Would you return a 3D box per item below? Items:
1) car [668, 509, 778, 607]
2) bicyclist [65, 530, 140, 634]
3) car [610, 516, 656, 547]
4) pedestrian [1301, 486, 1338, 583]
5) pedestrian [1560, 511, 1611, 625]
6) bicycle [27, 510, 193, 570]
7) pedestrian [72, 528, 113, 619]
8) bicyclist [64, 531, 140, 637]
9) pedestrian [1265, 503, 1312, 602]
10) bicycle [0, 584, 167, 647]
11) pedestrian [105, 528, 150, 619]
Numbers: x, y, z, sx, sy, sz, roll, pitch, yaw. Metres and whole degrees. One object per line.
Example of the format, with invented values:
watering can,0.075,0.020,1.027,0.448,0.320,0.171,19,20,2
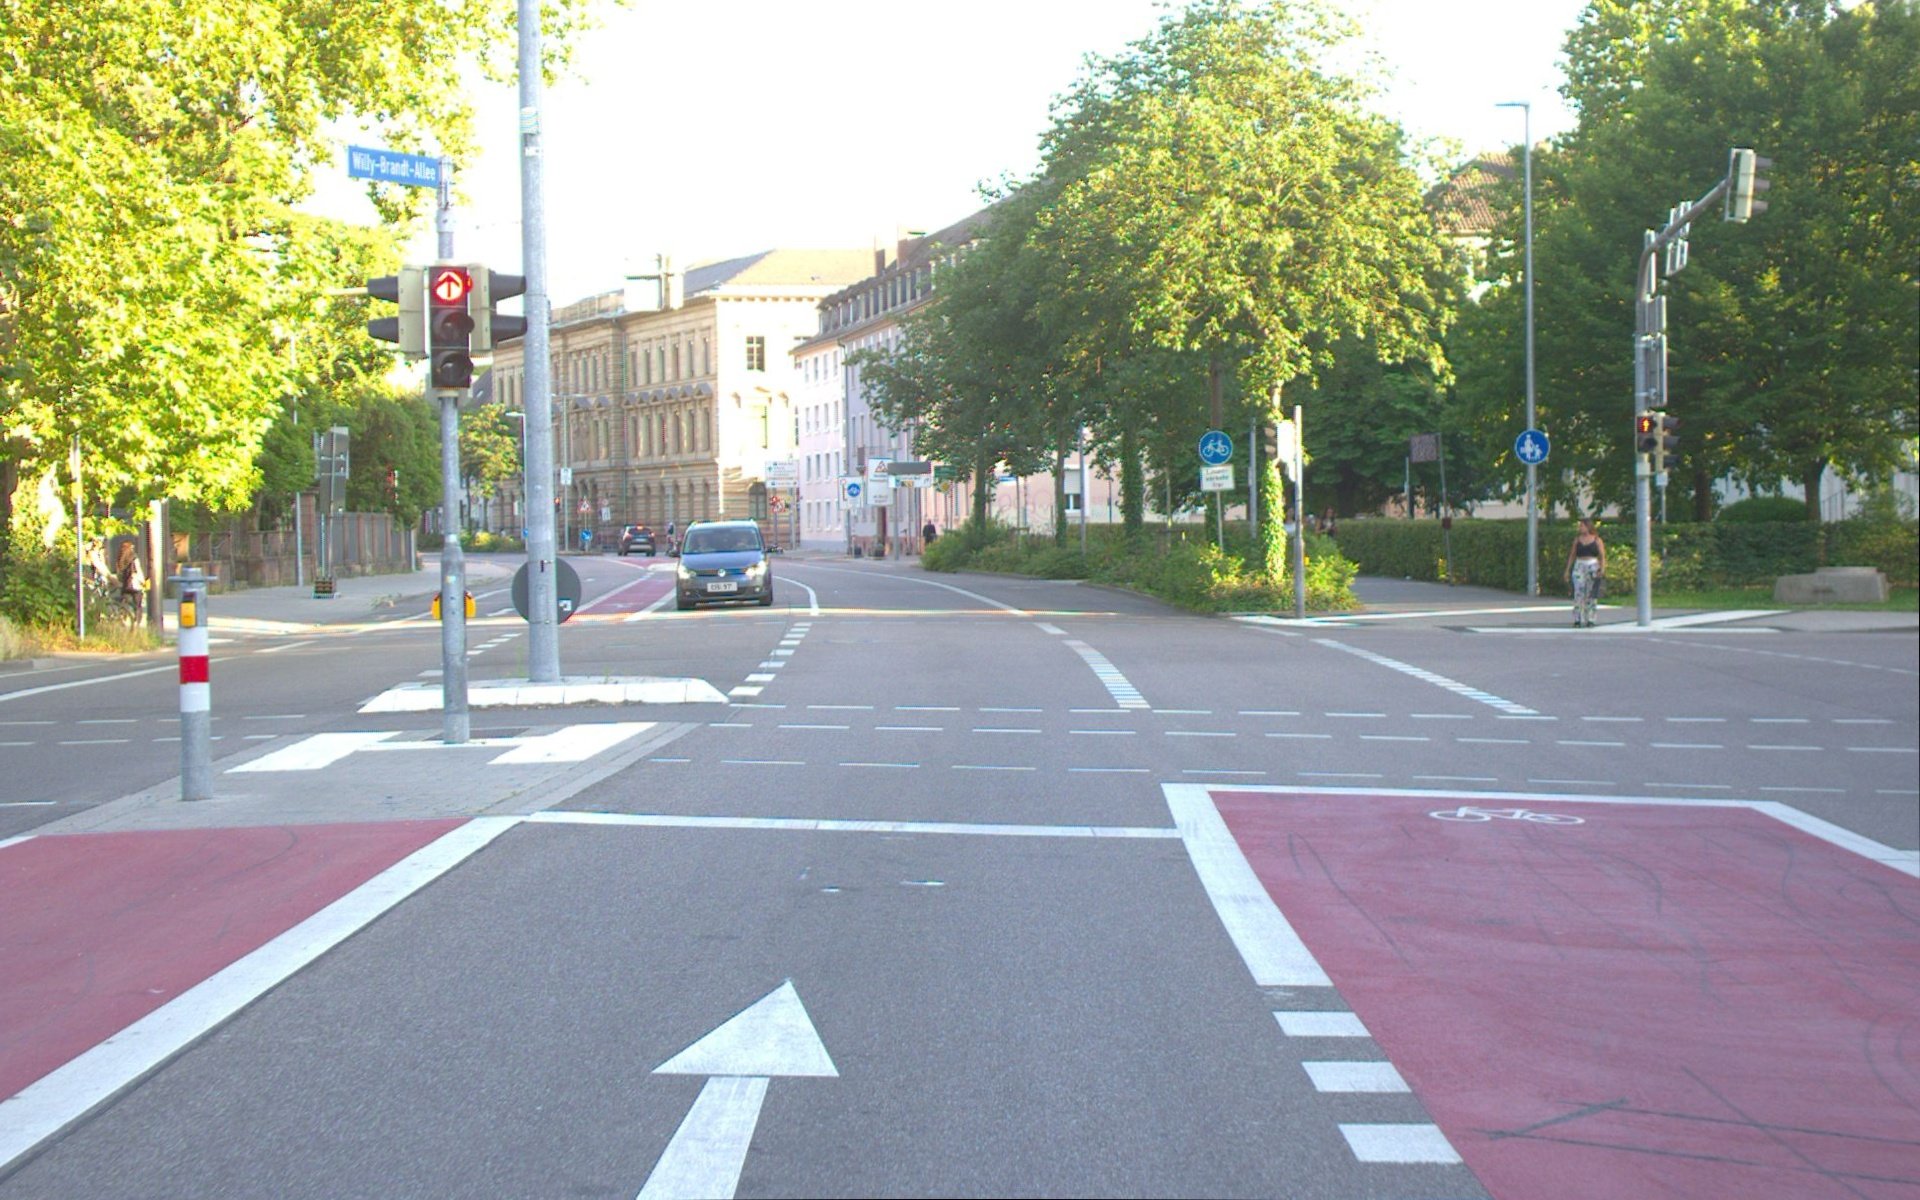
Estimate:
car,-4.467,-0.822,65.309,1.849,1.714,4.296,-3,1,-2
bicyclist,-13.631,-0.286,54.664,0.958,1.625,0.753,-1,1,1
car,-17.381,-3.652,182.596,1.819,1.583,4.001,-2,2,-14
pedestrian,7.449,-1.357,71.182,0.635,2.007,0.720,0,1,-3
pedestrian,9.044,-0.469,49.686,0.599,1.630,0.691,0,2,1
bicycle,-13.506,-0.959,54.658,2.430,0.921,0.775,-1,1,1
pedestrian,-15.283,-0.477,60.563,0.535,1.591,0.590,-1,1,0
bicyclist,-13.291,-0.254,53.287,0.958,1.625,0.753,-1,1,1
pedestrian,6.725,-0.973,70.361,0.870,2.007,0.722,0,1,0
bicycle,-13.604,0.236,53.303,2.430,0.921,0.775,-1,1,1
pedestrian,-14.631,-0.471,60.433,0.599,1.568,0.646,-1,1,0
